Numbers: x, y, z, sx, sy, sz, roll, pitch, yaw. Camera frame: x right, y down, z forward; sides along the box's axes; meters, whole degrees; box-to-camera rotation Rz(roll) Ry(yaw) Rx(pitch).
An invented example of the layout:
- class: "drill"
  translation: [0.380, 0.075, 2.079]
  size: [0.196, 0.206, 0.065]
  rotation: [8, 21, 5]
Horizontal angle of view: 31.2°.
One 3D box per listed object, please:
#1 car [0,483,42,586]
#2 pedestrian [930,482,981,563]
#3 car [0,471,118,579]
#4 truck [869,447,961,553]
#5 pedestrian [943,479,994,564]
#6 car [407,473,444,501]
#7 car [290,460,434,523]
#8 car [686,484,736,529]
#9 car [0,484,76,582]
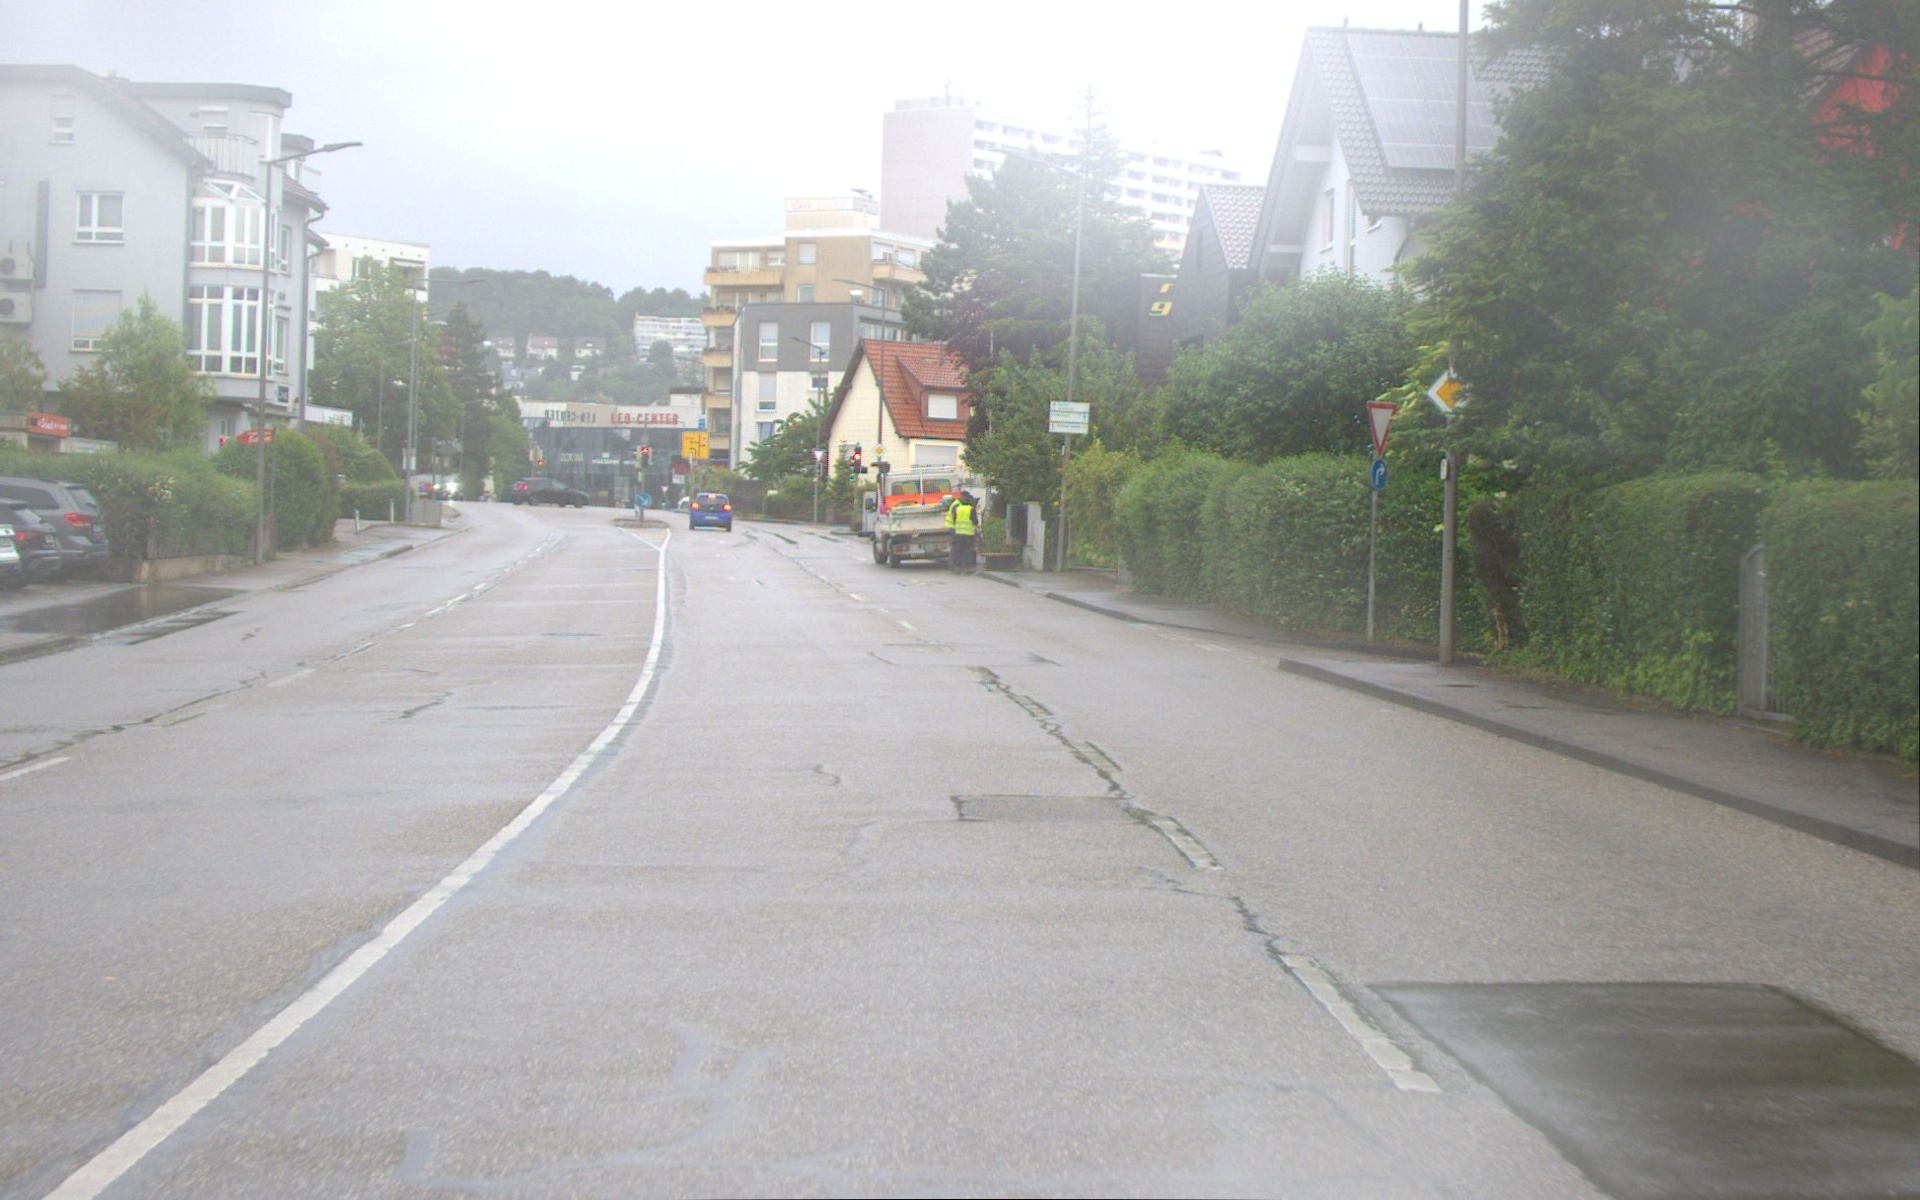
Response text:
- class: "car"
  translation: [-15.501, -1.031, 49.432]
  size: [3.987, 1.429, 1.971]
  rotation: [3, 2, 2]
- class: "pedestrian"
  translation: [-0.093, -1.676, 74.194]
  size: [0.823, 1.720, 0.841]
  rotation: [0, 2, -21]
- class: "car"
  translation: [-15.845, -1.226, 55.495]
  size: [3.987, 1.680, 1.808]
  rotation: [1, 1, 5]
- class: "truck"
  translation: [-1.006, -2.272, 78.010]
  size: [1.993, 2.295, 4.000]
  rotation: [1, 2, -1]
- class: "pedestrian"
  translation: [0.181, -1.680, 73.308]
  size: [0.823, 1.791, 0.800]
  rotation: [0, 2, -22]
- class: "car"
  translation: [-29.471, -6.229, 189.542]
  size: [1.659, 1.458, 4.001]
  rotation: [1, 1, -4]
- class: "car"
  translation: [-21.083, -3.815, 121.351]
  size: [4.524, 2.006, 1.999]
  rotation: [3, 2, 10]
- class: "car"
  translation: [-9.618, -3.612, 133.236]
  size: [1.794, 1.664, 4.001]
  rotation: [1, 1, -3]
- class: "car"
  translation: [-15.510, -1.033, 51.609]
  size: [3.987, 1.441, 1.705]
  rotation: [1, 1, 3]
